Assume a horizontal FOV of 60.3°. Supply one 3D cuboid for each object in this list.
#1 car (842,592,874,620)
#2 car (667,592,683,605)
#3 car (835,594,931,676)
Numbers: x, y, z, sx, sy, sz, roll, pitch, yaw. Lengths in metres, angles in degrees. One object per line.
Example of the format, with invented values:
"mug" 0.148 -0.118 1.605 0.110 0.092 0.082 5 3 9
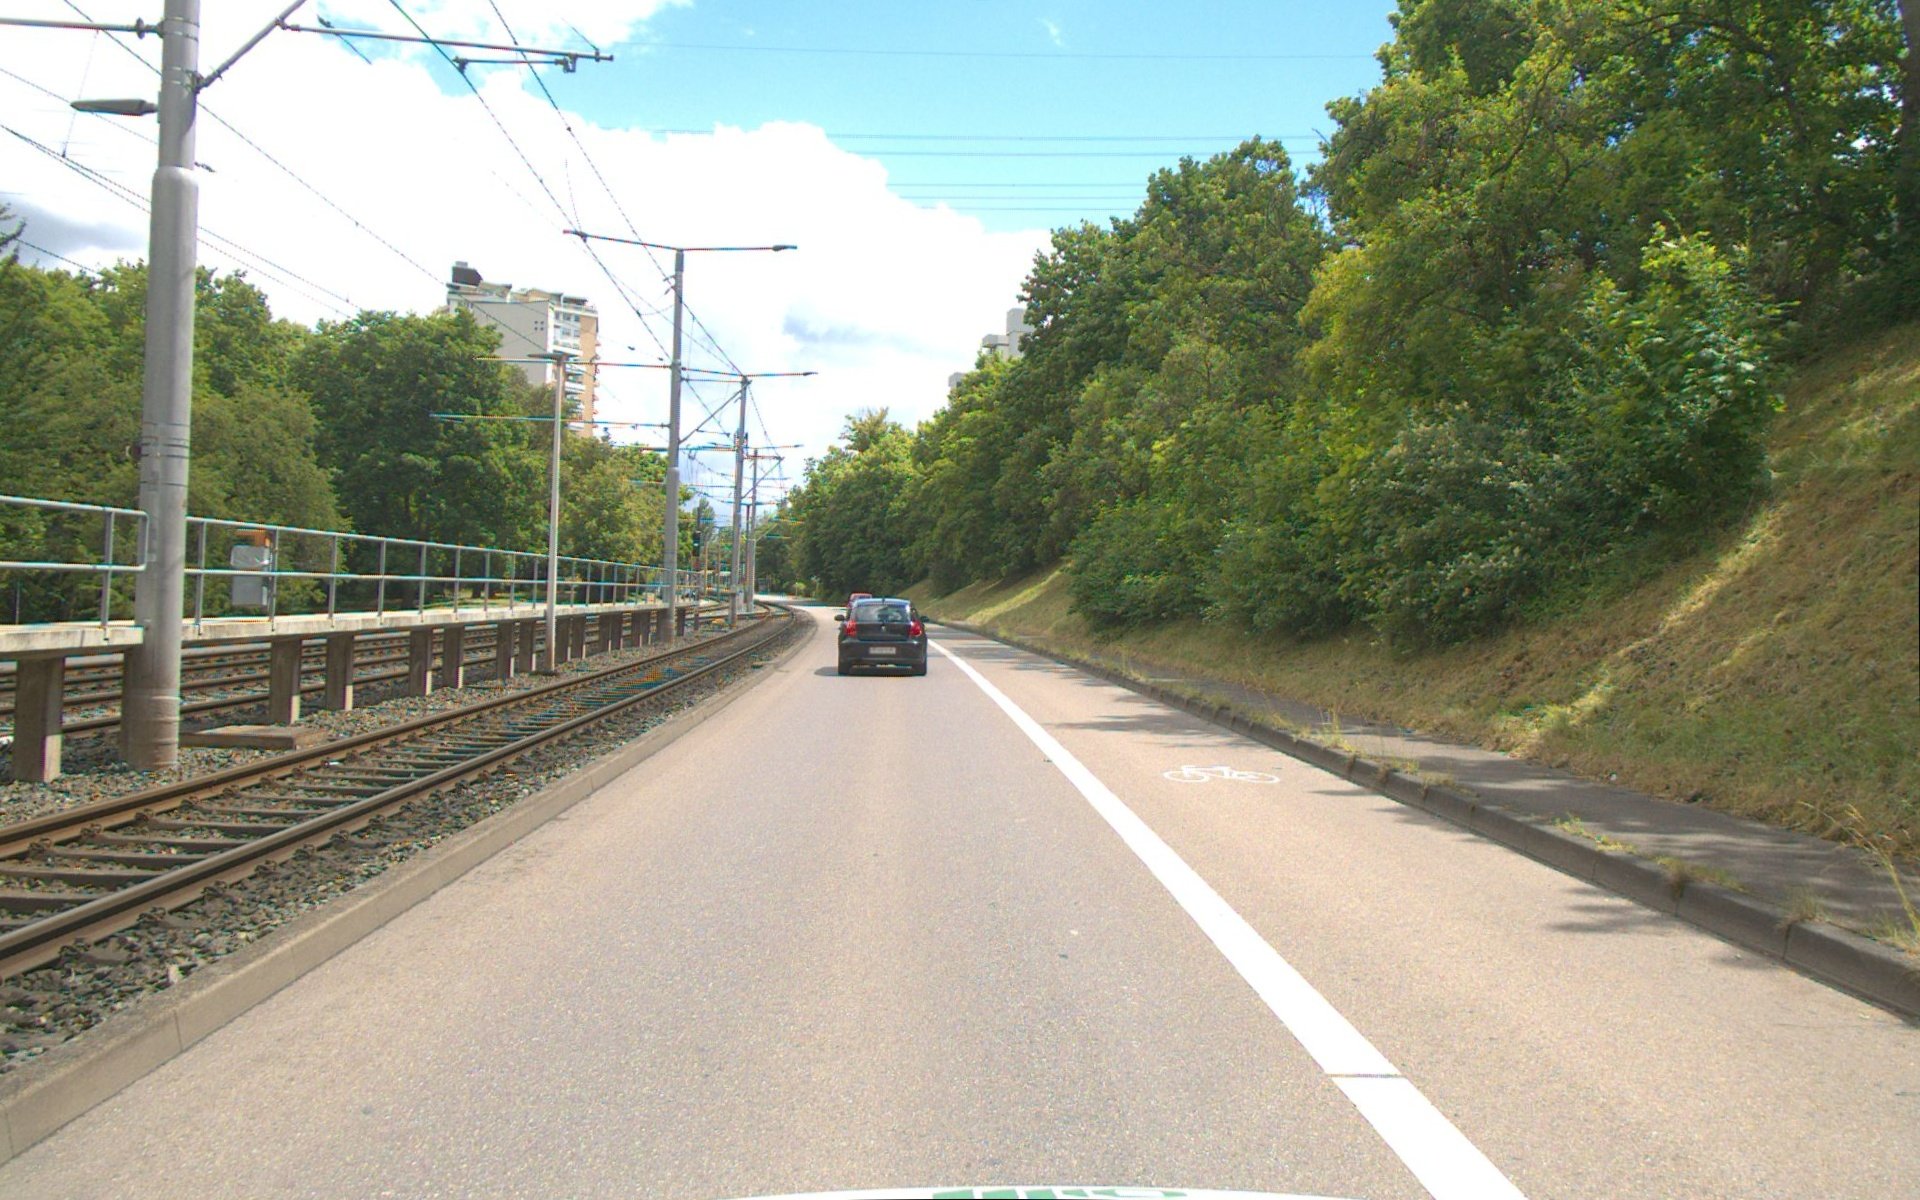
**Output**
"car" -5.731 0.335 93.032 1.746 1.485 3.918 1 0 -4
"car" -34.462 -0.133 199.952 1.743 1.525 3.986 1 0 -11
"car" -1.493 0.641 32.174 1.746 1.485 3.919 0 0 -3
